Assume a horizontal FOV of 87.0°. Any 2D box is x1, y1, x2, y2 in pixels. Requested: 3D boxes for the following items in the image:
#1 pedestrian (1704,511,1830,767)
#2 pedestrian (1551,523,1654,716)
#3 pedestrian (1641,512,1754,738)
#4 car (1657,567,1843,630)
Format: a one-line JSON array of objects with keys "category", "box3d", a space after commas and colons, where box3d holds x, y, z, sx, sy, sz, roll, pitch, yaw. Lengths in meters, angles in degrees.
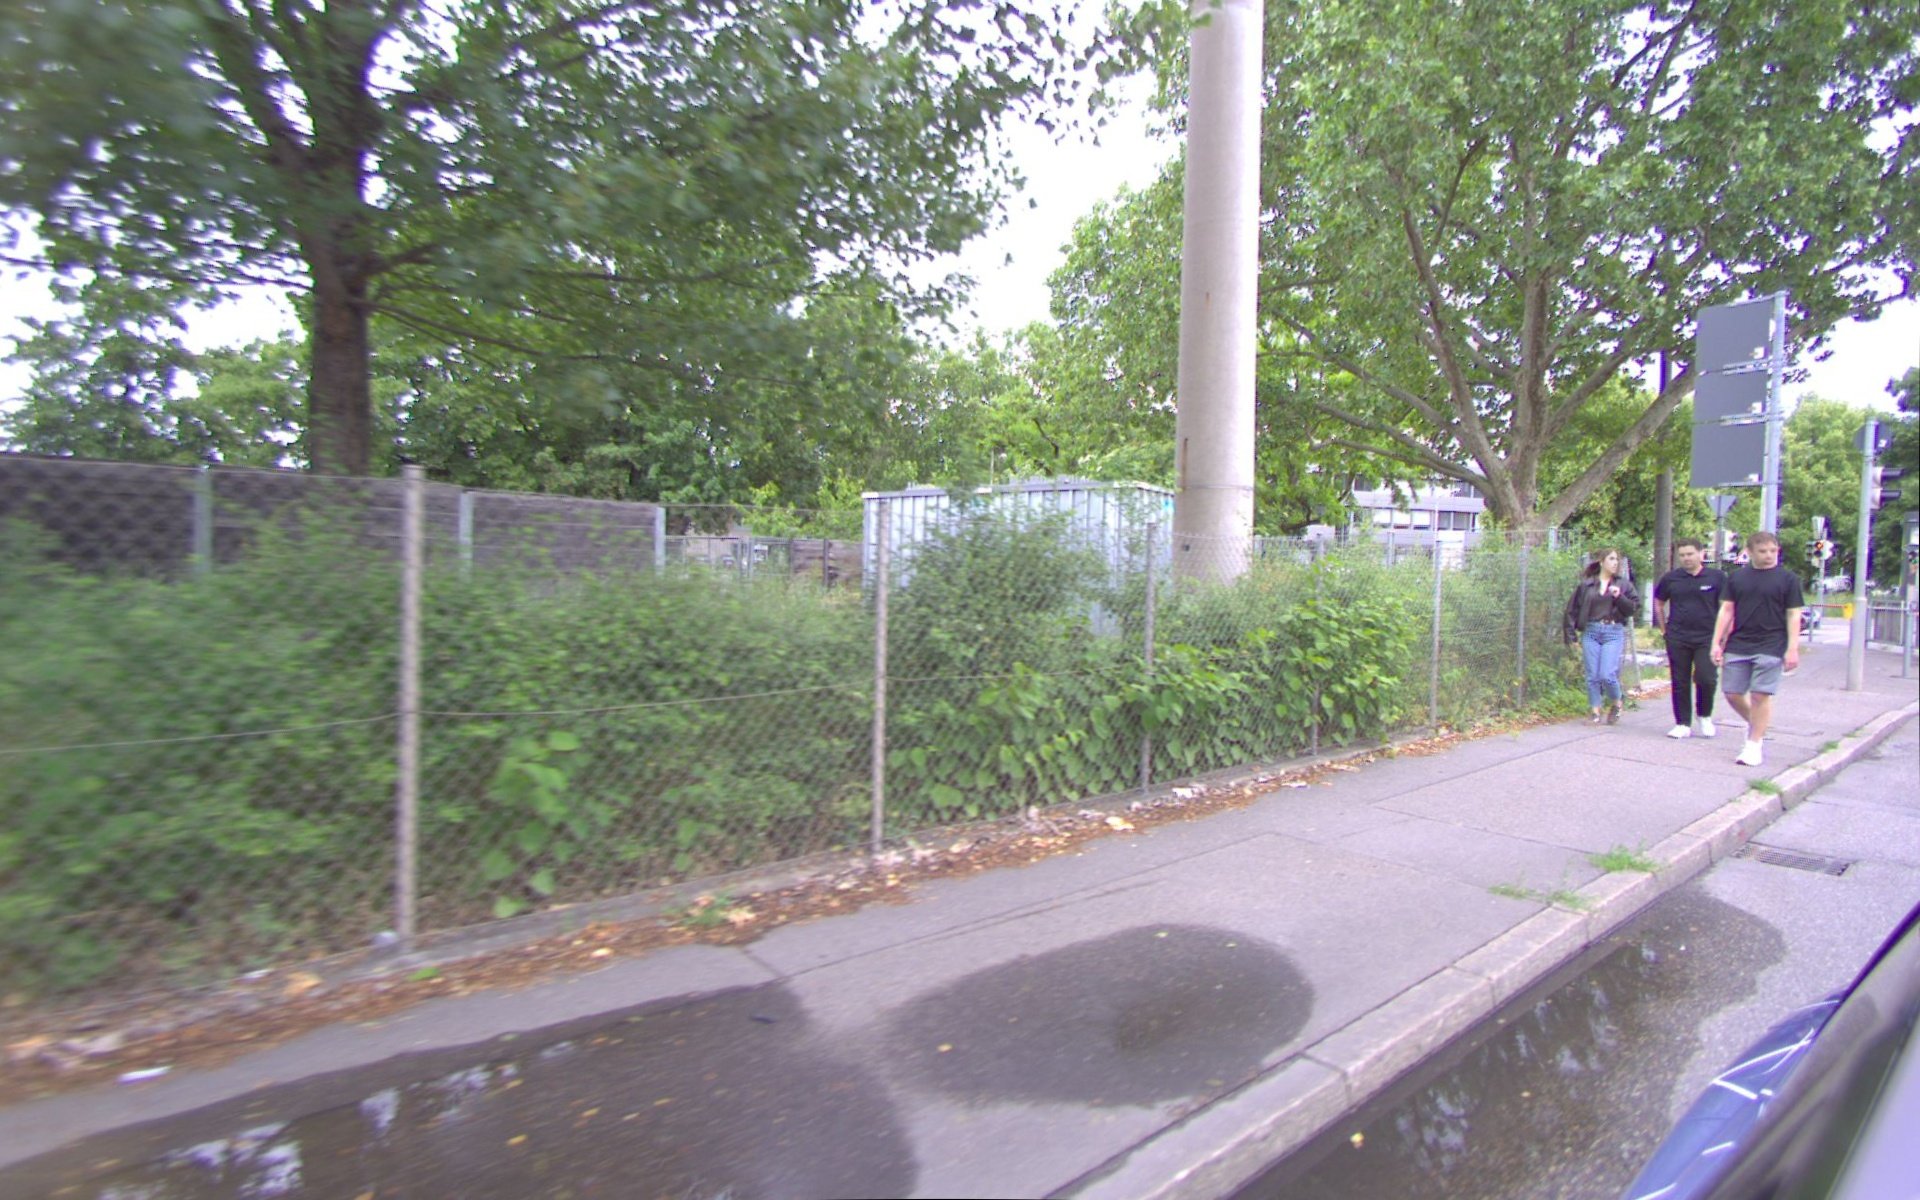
[{"category": "pedestrian", "box3d": [6.295, 0.264, 7.905, 0.660, 1.889, 0.604, -5, 5, -40]}, {"category": "pedestrian", "box3d": [5.979, 0.147, 9.423, 0.660, 1.709, 0.604, -5, 5, -40]}, {"category": "pedestrian", "box3d": [6.487, 0.189, 8.905, 0.660, 1.890, 0.604, -1, 3, -40]}, {"category": "car", "box3d": [24.851, -0.103, 32.032, 1.794, 1.794, 4.240, 2, 1, -22]}]
